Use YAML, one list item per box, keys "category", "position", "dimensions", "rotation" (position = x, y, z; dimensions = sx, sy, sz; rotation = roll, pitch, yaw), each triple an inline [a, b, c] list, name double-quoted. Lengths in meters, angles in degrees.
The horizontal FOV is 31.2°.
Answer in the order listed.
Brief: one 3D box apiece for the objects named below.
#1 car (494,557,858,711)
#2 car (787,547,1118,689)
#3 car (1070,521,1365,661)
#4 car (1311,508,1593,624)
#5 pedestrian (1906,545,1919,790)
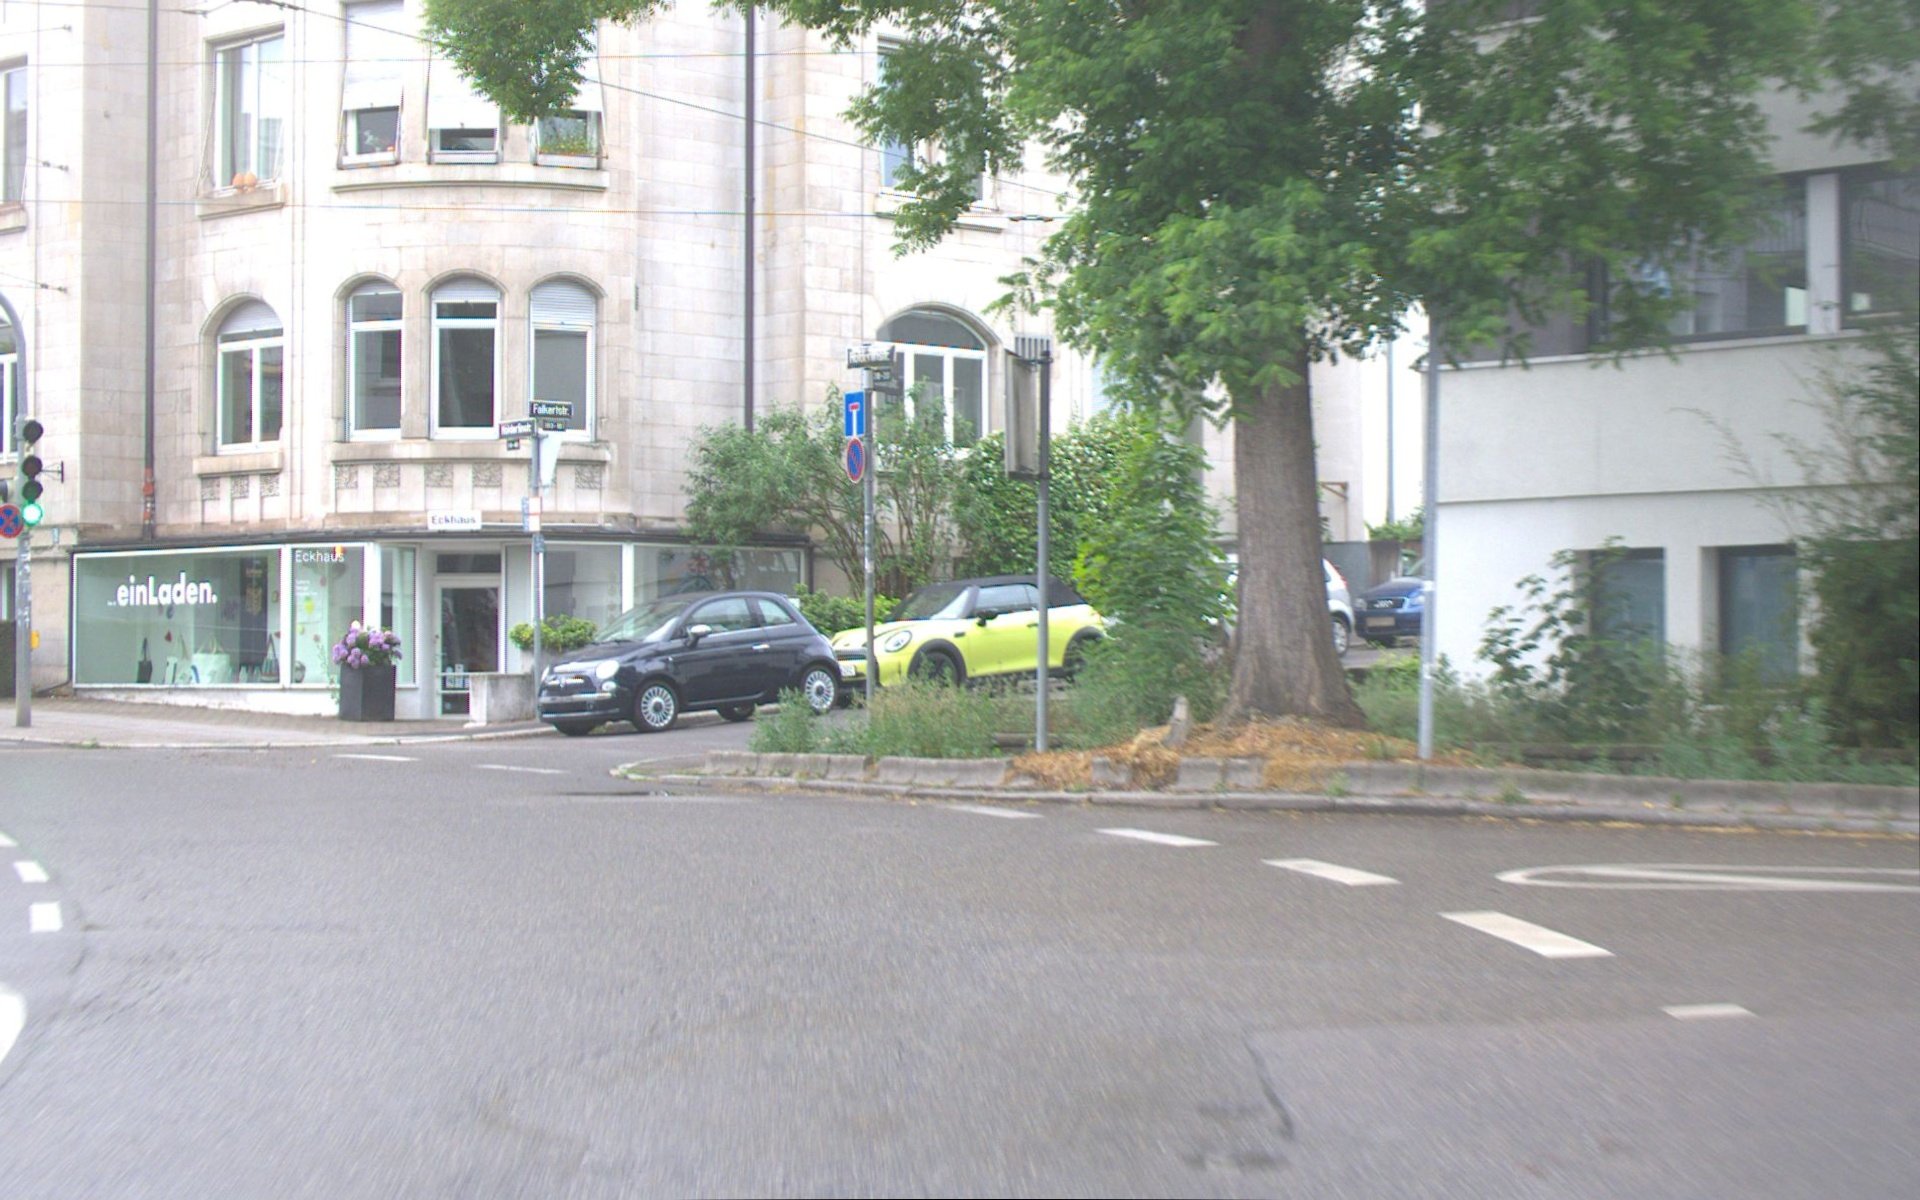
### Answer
- category: "car"
  position: [-3.106, 0.332, 37.985]
  dimensions: [3.660, 1.503, 1.737]
  rotation: [-3, 2, -41]
- category: "car"
  position: [-0.058, 0.180, 40.857]
  dimensions: [3.660, 1.503, 1.737]
  rotation: [-3, 2, -41]
- category: "car"
  position: [3.333, -0.134, 44.030]
  dimensions: [1.622, 1.502, 3.764]
  rotation: [-3, 1, 45]
- category: "car"
  position: [6.829, -0.441, 47.518]
  dimensions: [3.885, 1.503, 1.623]
  rotation: [0, -2, -39]
- category: "pedestrian"
  position: [6.461, 0.445, 21.902]
  dimensions: [0.599, 1.560, 0.546]
  rotation: [2, 2, -9]
